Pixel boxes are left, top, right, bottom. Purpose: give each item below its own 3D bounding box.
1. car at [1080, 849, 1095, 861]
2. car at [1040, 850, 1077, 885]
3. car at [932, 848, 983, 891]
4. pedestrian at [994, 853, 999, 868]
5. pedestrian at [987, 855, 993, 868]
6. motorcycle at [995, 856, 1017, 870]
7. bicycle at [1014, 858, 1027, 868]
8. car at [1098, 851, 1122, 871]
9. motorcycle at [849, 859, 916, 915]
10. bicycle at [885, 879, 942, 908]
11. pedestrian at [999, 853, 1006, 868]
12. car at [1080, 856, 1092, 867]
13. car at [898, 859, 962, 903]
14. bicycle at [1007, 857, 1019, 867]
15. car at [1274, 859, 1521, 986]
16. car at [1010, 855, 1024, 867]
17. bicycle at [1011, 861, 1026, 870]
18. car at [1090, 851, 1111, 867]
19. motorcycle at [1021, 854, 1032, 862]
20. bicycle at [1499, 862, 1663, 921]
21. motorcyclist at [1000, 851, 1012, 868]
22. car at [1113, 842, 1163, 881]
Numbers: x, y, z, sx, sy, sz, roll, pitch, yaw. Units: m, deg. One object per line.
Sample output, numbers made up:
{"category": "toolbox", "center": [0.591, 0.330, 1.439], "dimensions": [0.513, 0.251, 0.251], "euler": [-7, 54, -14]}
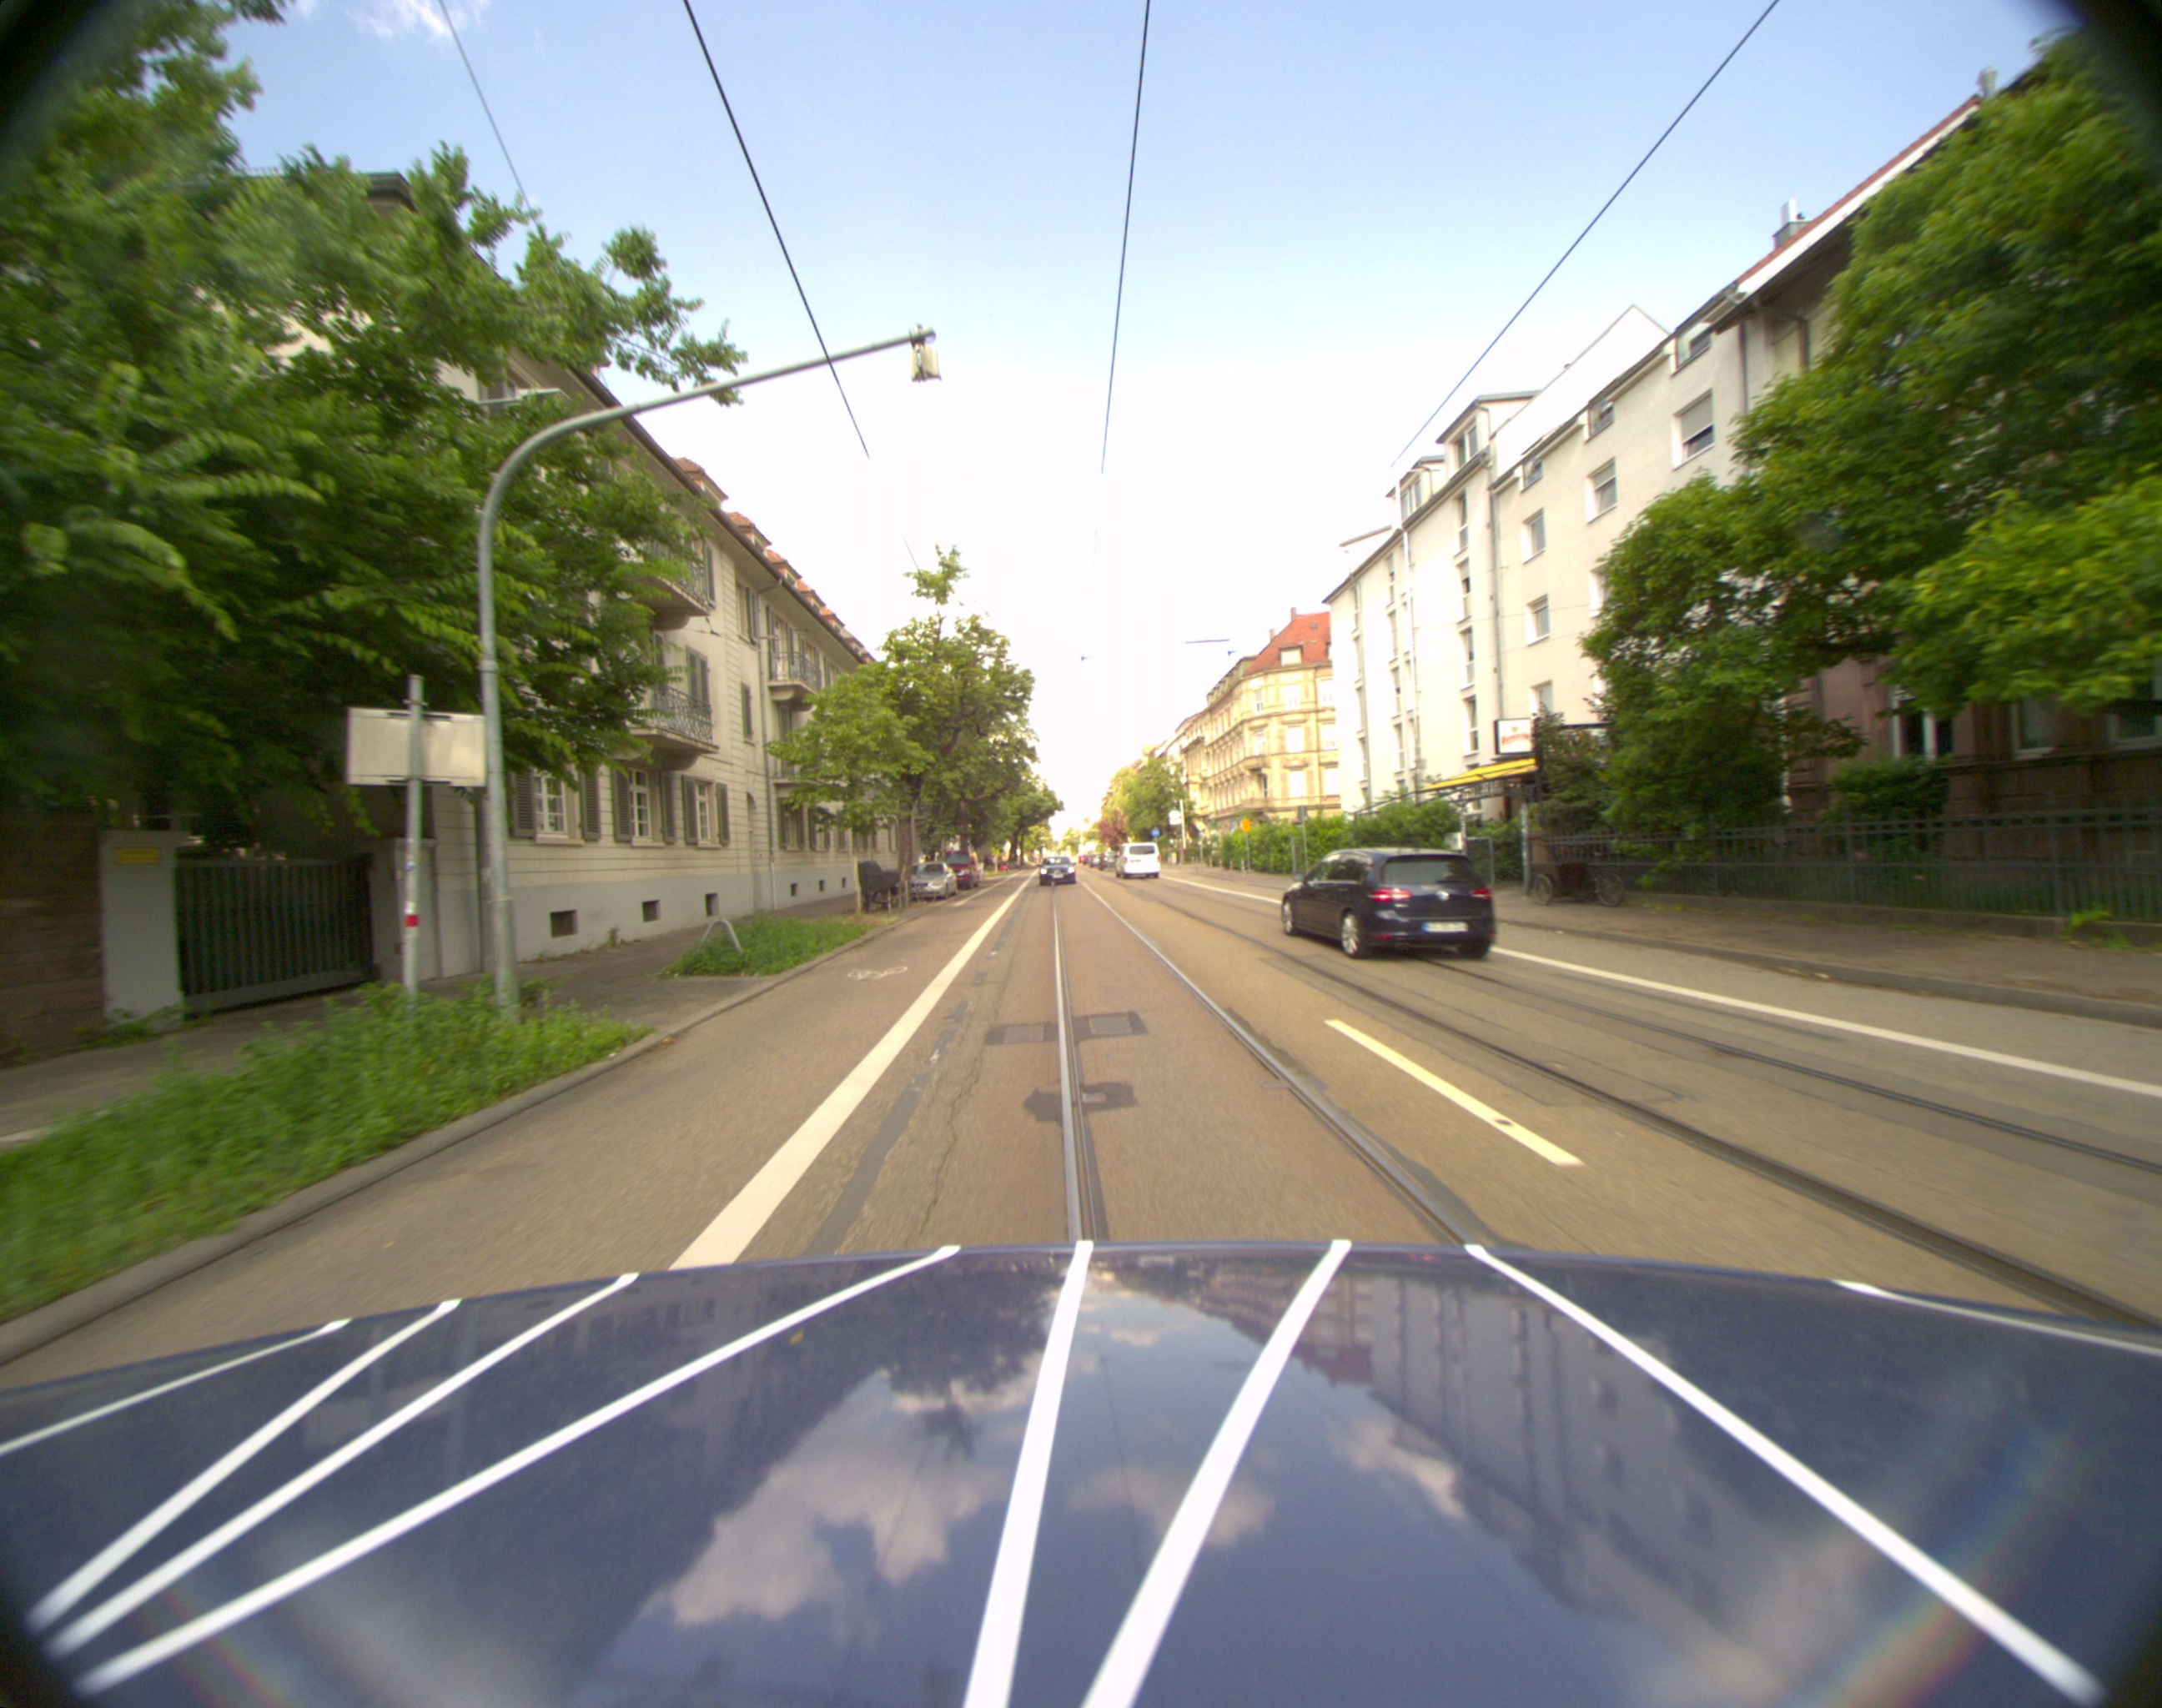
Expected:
{"category": "car", "center": [0.820, 0.099, 94.466], "dimensions": [1.633, 1.399, 4.128], "euler": [-4, 0, -2]}
{"category": "car", "center": [-1.165, 0.661, 38.585], "dimensions": [1.694, 1.568, 4.156], "euler": [-3, 0, -2]}
{"category": "car", "center": [-6.199, 0.743, 38.621], "dimensions": [1.900, 1.929, 4.949], "euler": [-3, 0, -2]}
{"category": "pedestrian", "center": [-10.903, 0.805, 97.623], "dimensions": [0.506, 1.842, 0.687], "euler": [-3, 1, -2]}
{"category": "pedestrian", "center": [-11.767, 0.930, 98.310], "dimensions": [0.582, 1.630, 0.975], "euler": [-3, 1, -2]}
{"category": "motorcycle", "center": [-7.823, 0.973, 79.280], "dimensions": [2.085, 1.352, 0.742], "euler": [-3, 1, 11]}
{"category": "bicycle", "center": [-8.126, 1.180, 102.107], "dimensions": [1.491, 1.213, 0.518], "euler": [-3, 1, 4]}
{"category": "car", "center": [2.382, 0.531, 62.555], "dimensions": [1.636, 1.547, 3.820], "euler": [-3, 0, -2]}
{"category": "motorcycle", "center": [-5.966, 0.955, 23.062], "dimensions": [0.982, 1.533, 2.441], "euler": [-3, 0, 9]}
{"category": "bicycle", "center": [-5.873, 1.372, 26.650], "dimensions": [1.781, 0.897, 0.692], "euler": [-3, 1, 1]}
{"category": "pedestrian", "center": [-10.131, 0.772, 97.841], "dimensions": [0.755, 1.878, 0.886], "euler": [-3, 1, -2]}
{"category": "car", "center": [0.693, 1.098, 109.622], "dimensions": [1.598, 1.432, 3.935], "euler": [-2, 0, -1]}
{"category": "car", "center": [-5.944, 1.020, 30.337], "dimensions": [1.711, 1.490, 4.787], "euler": [-3, 0, -2]}
{"category": "bicycle", "center": [-7.837, 0.972, 87.956], "dimensions": [1.271, 1.060, 0.478], "euler": [-3, 1, -3]}
{"category": "car", "center": [4.155, 0.801, 10.716], "dimensions": [1.693, 1.394, 3.929], "euler": [-1, 0, -3]}
{"category": "car", "center": [-8.204, 0.876, 97.971], "dimensions": [1.589, 1.436, 3.897], "euler": [-3, 0, -2]}
{"category": "bicycle", "center": [-7.653, 1.390, 93.061], "dimensions": [1.651, 1.064, 0.348], "euler": [-3, 1, 1]}
{"category": "car", "center": [1.980, 0.536, 79.021], "dimensions": [1.732, 1.531, 4.275], "euler": [-2, 0, -3]}
{"category": "motorcycle", "center": [-9.921, 0.711, 137.734], "dimensions": [2.065, 1.485, 0.812], "euler": [-3, 1, 44]}
{"category": "bicycle", "center": [9.813, 0.688, 15.158], "dimensions": [1.146, 0.903, 2.988], "euler": [-6, 0, -2]}
{"category": "motorcyclist", "center": [-7.839, 0.526, 79.274], "dimensions": [0.920, 1.704, 0.742], "euler": [-3, 1, 11]}
{"category": "car", "center": [3.046, 0.400, 41.522], "dimensions": [1.903, 1.896, 5.382], "euler": [-3, 0, -4]}
